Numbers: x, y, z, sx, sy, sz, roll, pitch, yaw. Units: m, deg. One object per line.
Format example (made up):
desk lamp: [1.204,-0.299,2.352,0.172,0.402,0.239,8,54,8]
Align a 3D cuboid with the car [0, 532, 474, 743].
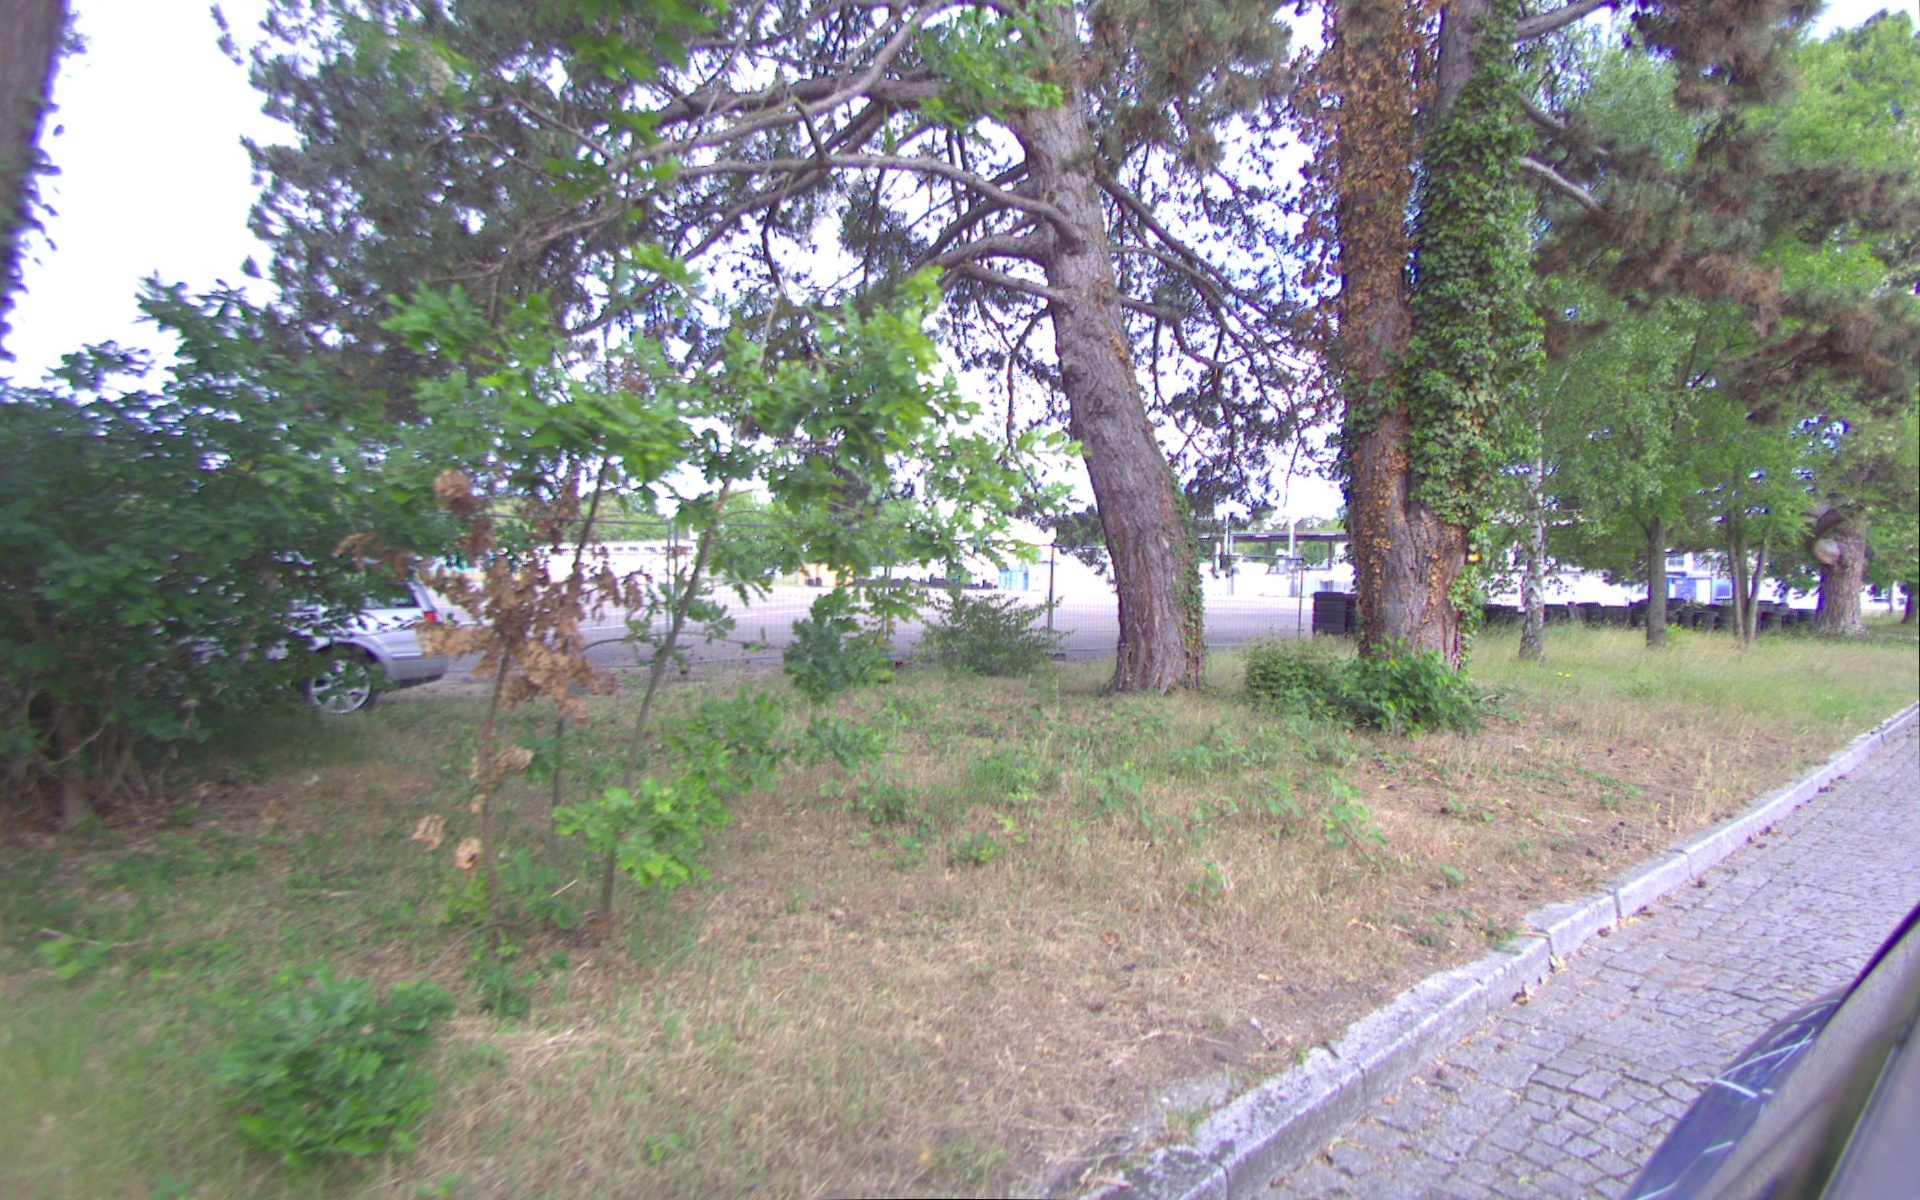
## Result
car: [-6.603,0.234,8.329,4.415,1.469,1.675,0,2,-44]
